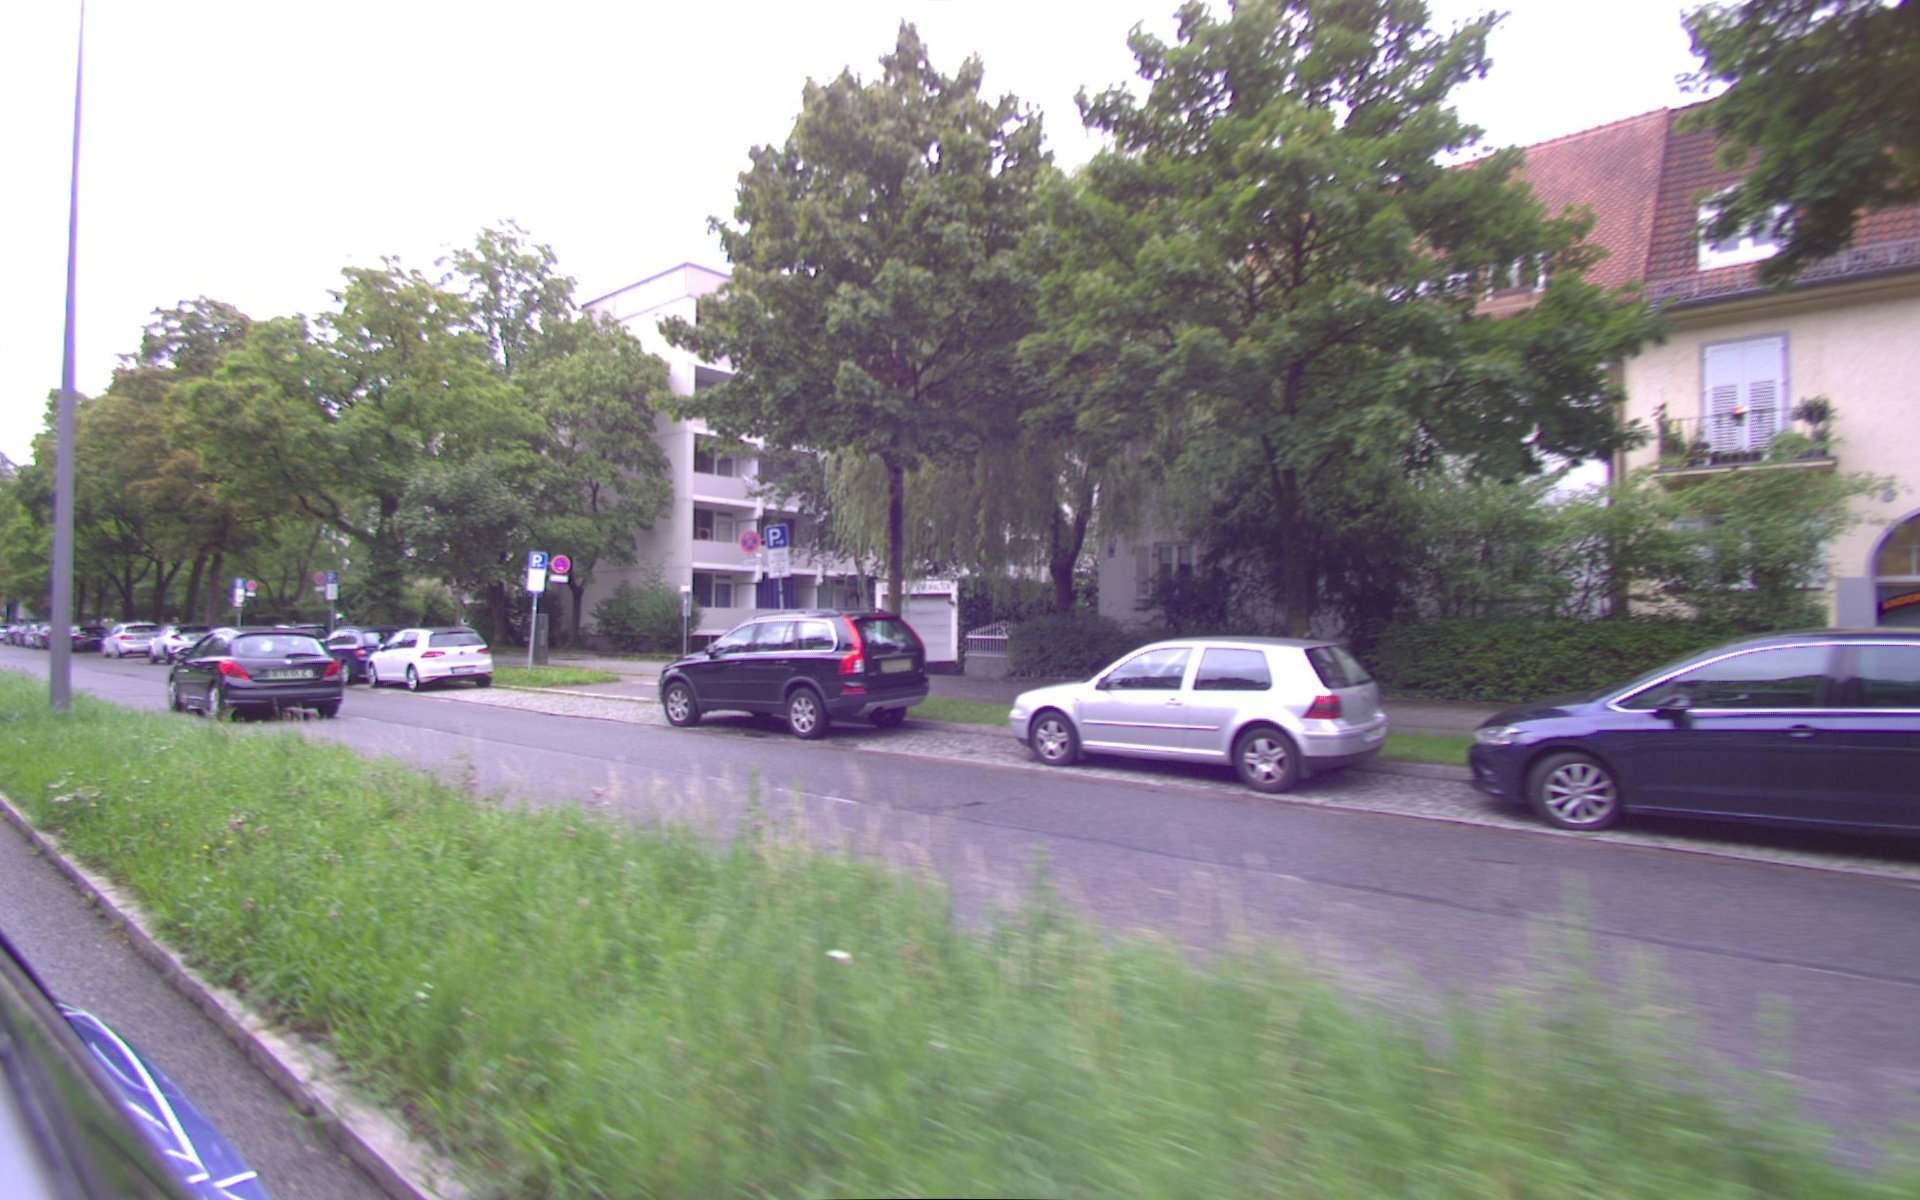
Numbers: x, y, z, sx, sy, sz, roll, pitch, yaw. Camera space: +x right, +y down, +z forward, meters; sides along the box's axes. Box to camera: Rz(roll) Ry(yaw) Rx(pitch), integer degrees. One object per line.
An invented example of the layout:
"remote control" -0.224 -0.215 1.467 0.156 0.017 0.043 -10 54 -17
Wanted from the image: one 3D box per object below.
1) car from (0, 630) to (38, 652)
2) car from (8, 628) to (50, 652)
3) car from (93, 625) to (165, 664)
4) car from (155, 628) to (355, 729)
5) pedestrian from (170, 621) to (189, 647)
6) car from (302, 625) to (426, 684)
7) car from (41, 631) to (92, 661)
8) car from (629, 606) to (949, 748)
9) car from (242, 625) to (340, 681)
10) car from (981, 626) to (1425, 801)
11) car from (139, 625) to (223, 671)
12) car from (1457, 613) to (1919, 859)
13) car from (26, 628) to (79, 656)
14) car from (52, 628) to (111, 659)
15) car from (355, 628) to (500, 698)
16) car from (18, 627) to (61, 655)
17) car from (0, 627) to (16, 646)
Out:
"car" -66.077 2.871 70.922 4.359 1.434 1.564 -2 0 40
"car" -62.110 2.651 67.494 4.190 1.434 1.608 -2 0 42
"car" -38.042 2.009 46.278 4.485 1.607 1.739 -2 0 40
"car" -11.586 1.198 16.534 4.101 1.453 1.719 -2 -3 41
"pedestrian" -50.301 2.187 65.242 0.609 1.669 0.839 -2 -3 44
"car" -16.196 1.423 27.423 4.213 1.486 1.657 -1 -2 41
"car" -50.672 2.572 57.373 4.208 1.609 1.668 -2 0 42
"car" -2.717 1.057 15.313 5.049 1.776 1.780 -2 0 37
"car" -20.754 1.601 31.372 3.076 1.577 1.674 -1 0 39
"car" 2.447 1.054 10.912 4.372 1.456 1.649 -2 0 41
"car" -30.578 1.848 39.674 4.489 1.621 1.813 -2 0 42
"car" 6.223 0.904 7.523 4.294 1.574 1.650 -1 -2 39
"car" -54.726 2.494 60.982 5.031 1.536 1.699 -2 0 41
"car" -47.108 2.297 54.238 4.946 1.525 1.742 -2 0 42
"car" -12.892 1.450 24.385 4.318 1.454 1.657 -2 0 42
"car" -58.750 2.621 64.542 3.866 1.660 1.608 -2 0 42
"car" -76.132 2.842 79.945 4.819 1.459 1.718 -1 -2 41
